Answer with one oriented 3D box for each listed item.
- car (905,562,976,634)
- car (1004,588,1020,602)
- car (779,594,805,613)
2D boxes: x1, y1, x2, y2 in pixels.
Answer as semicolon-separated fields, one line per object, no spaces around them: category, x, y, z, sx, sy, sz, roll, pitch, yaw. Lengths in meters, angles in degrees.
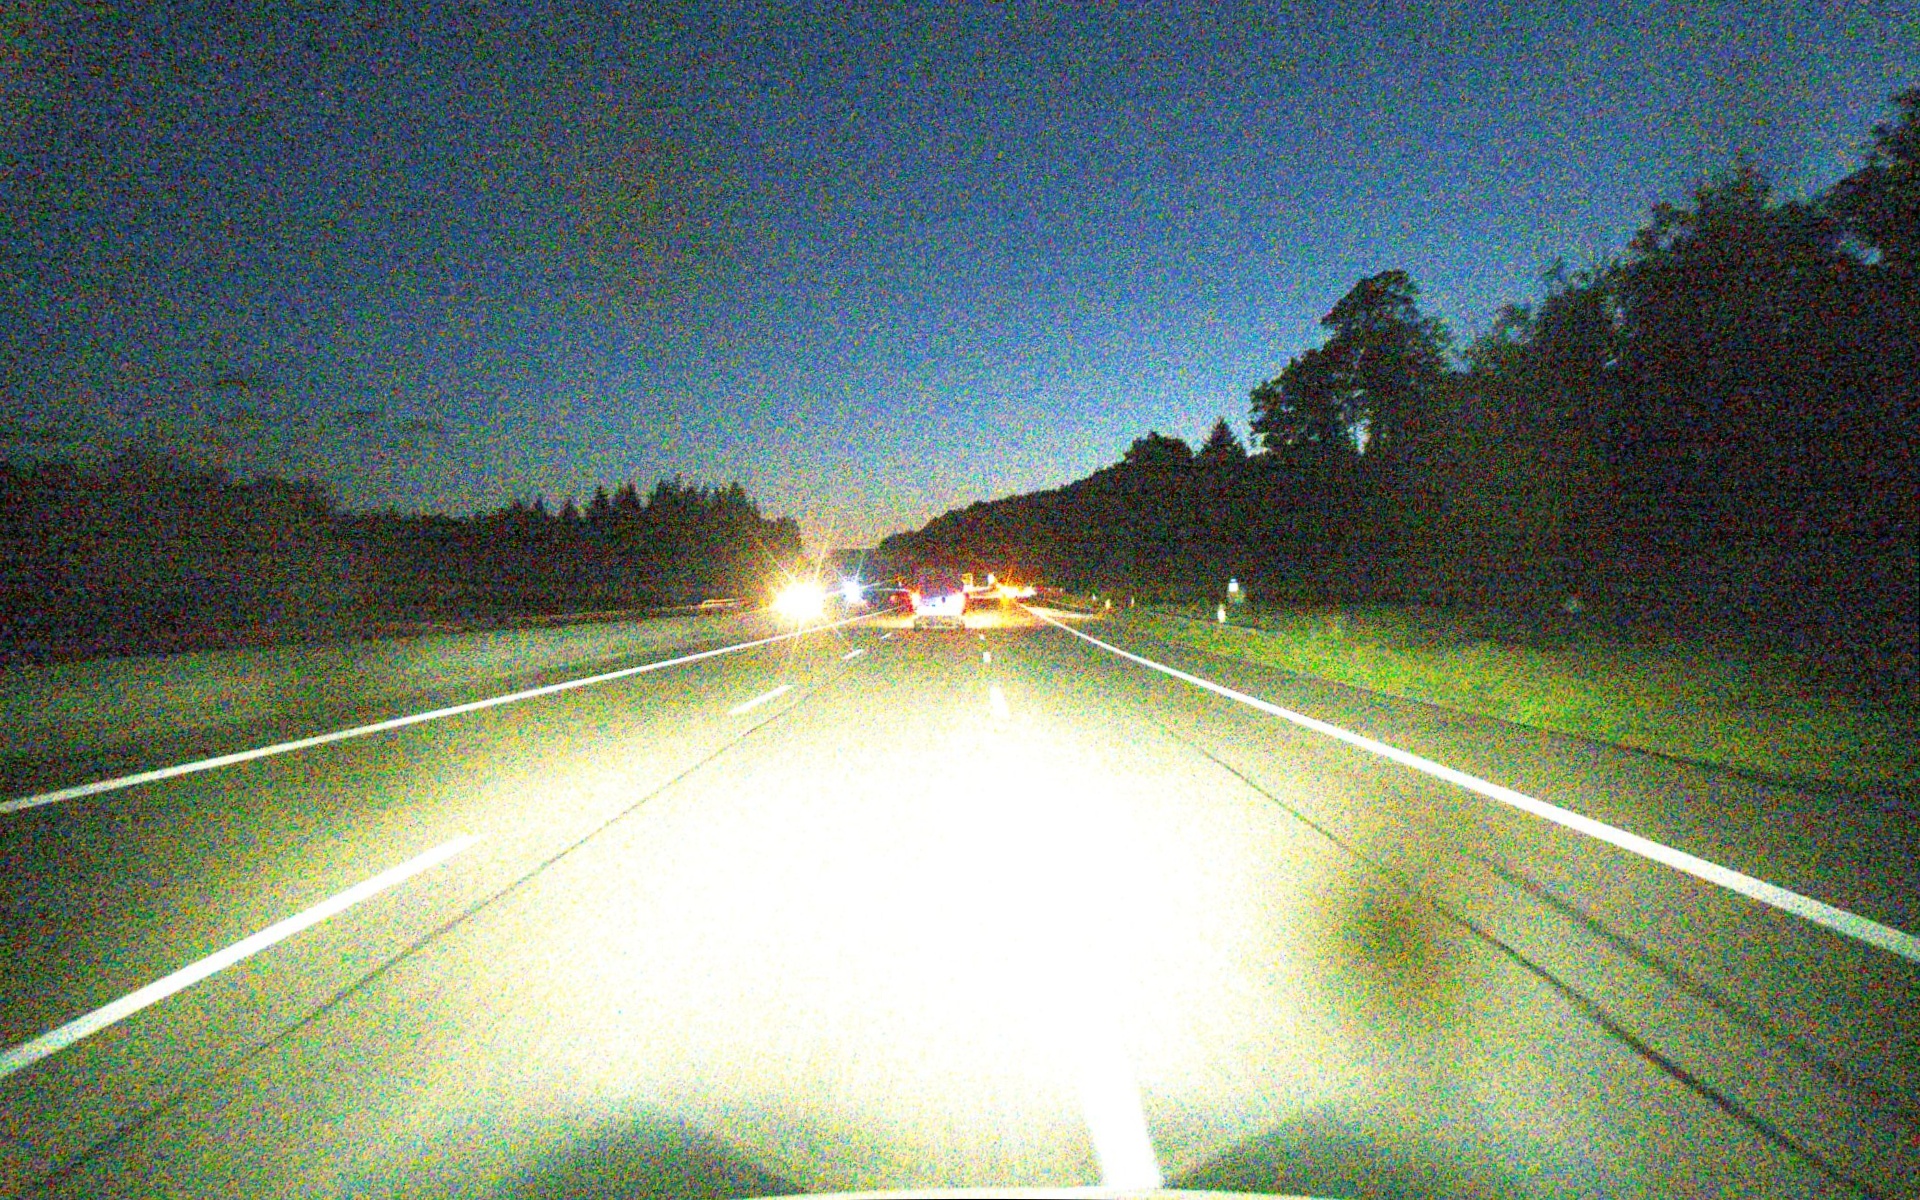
car;-0.779;-0.097;67.304;2.729;2.781;6.299;0;0;0
car;6.532;-0.624;206.486;1.806;1.668;4.000;-1;1;-1
car;-15.526;0.307;153.113;1.893;1.632;4.953;-1;0;0
